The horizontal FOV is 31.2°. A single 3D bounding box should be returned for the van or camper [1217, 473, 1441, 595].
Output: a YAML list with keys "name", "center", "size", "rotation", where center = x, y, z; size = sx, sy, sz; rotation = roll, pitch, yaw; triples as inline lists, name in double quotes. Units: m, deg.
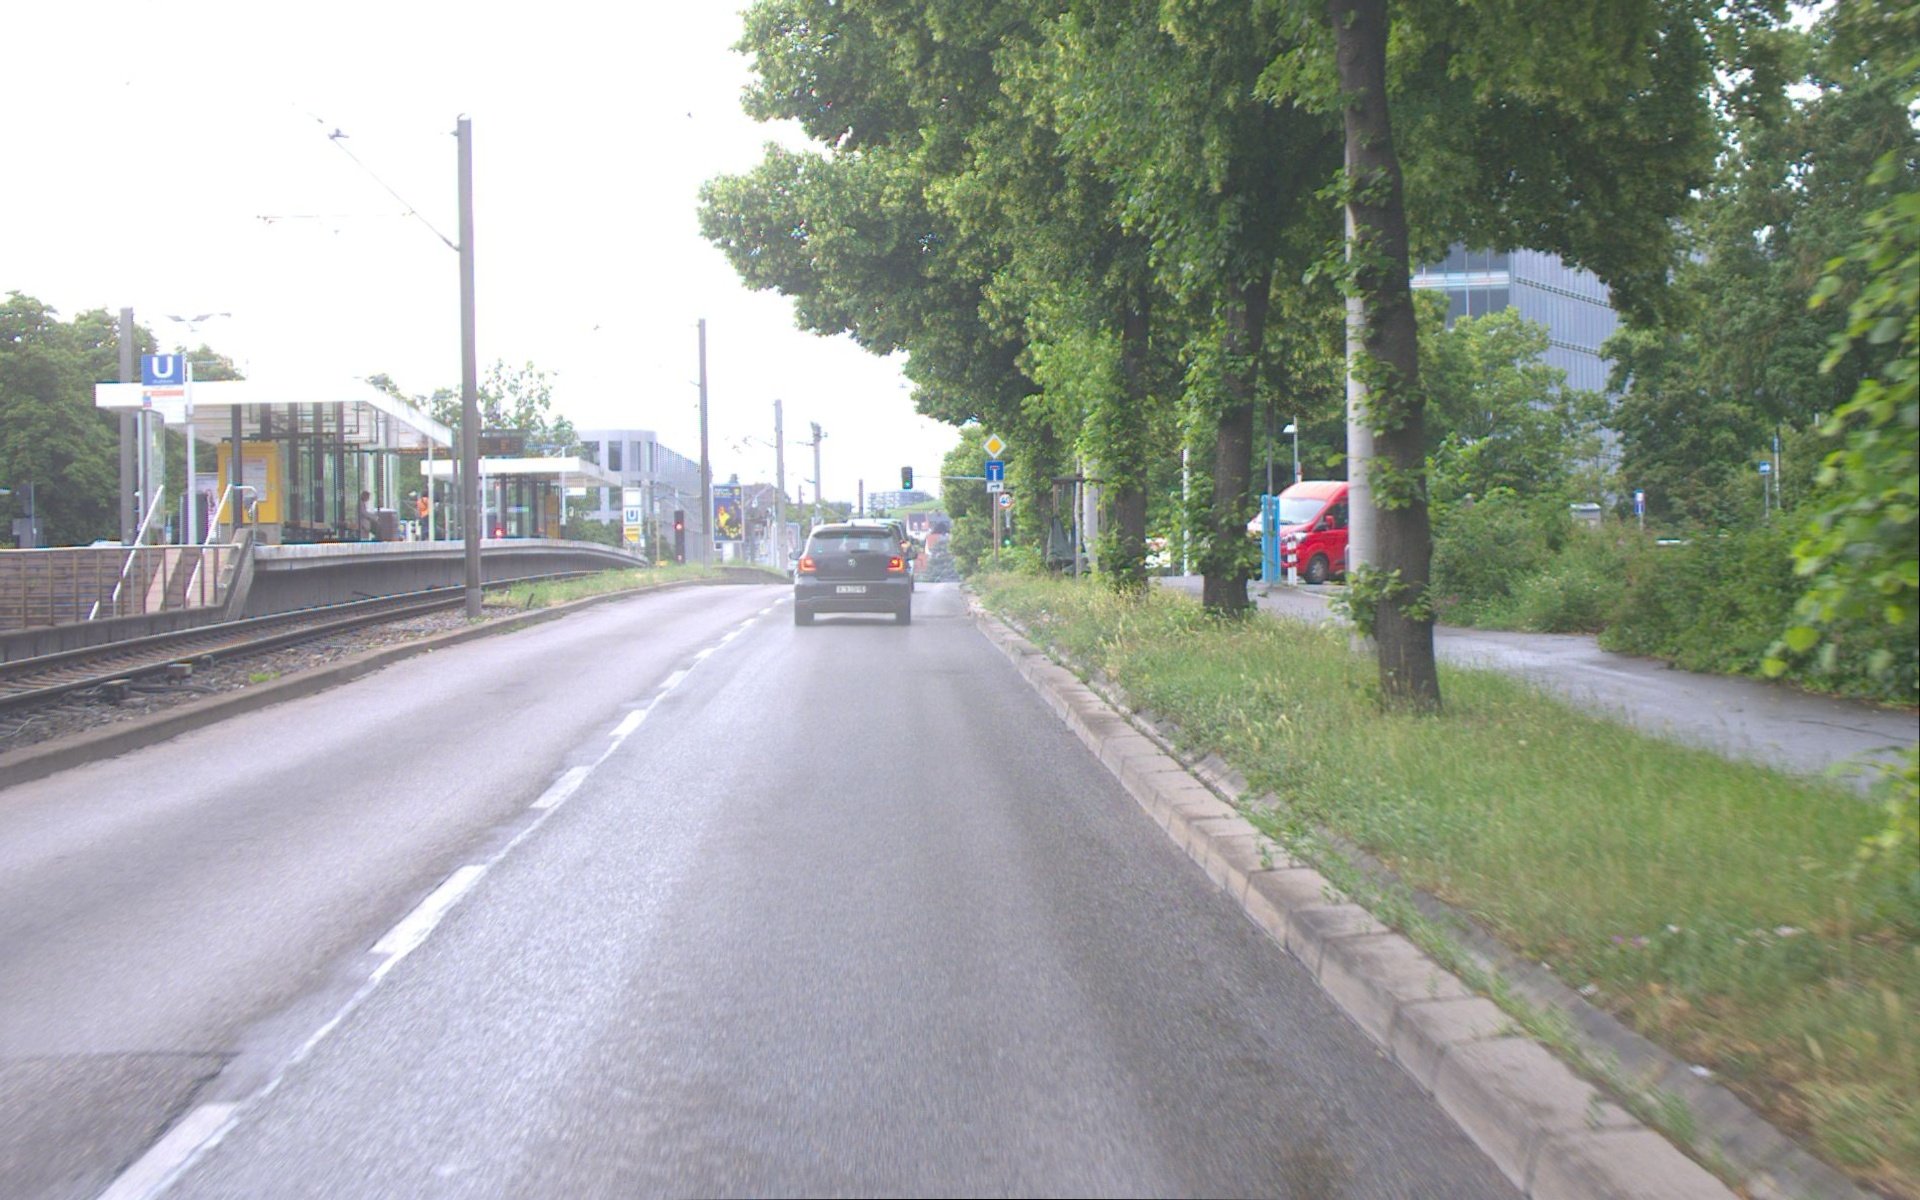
- name: "van or camper"
  center: [8.290, -1.462, 76.845]
  size: [2.040, 2.398, 5.378]
  rotation: [5, 1, 42]

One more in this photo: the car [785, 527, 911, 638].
- name: "car"
  center: [-1.588, -0.286, 49.747]
  size: [1.726, 1.535, 4.000]
  rotation: [0, 1, -1]

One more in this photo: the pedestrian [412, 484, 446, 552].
- name: "pedestrian"
  center: [-15.068, -2.320, 97.494]
  size: [0.743, 1.903, 0.842]
  rotation: [1, 2, -21]

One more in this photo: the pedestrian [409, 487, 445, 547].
- name: "pedestrian"
  center: [-14.983, -2.337, 96.643]
  size: [0.794, 1.641, 0.919]
  rotation: [1, 2, -21]

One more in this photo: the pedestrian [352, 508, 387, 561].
- name: "pedestrian"
  center: [-13.501, -1.497, 78.618]
  size: [0.710, 1.221, 0.619]
  rotation: [0, 1, 0]

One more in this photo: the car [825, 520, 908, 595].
- name: "car"
  center: [-1.950, -0.914, 72.487]
  size: [1.687, 1.512, 4.000]
  rotation: [0, 1, -1]
